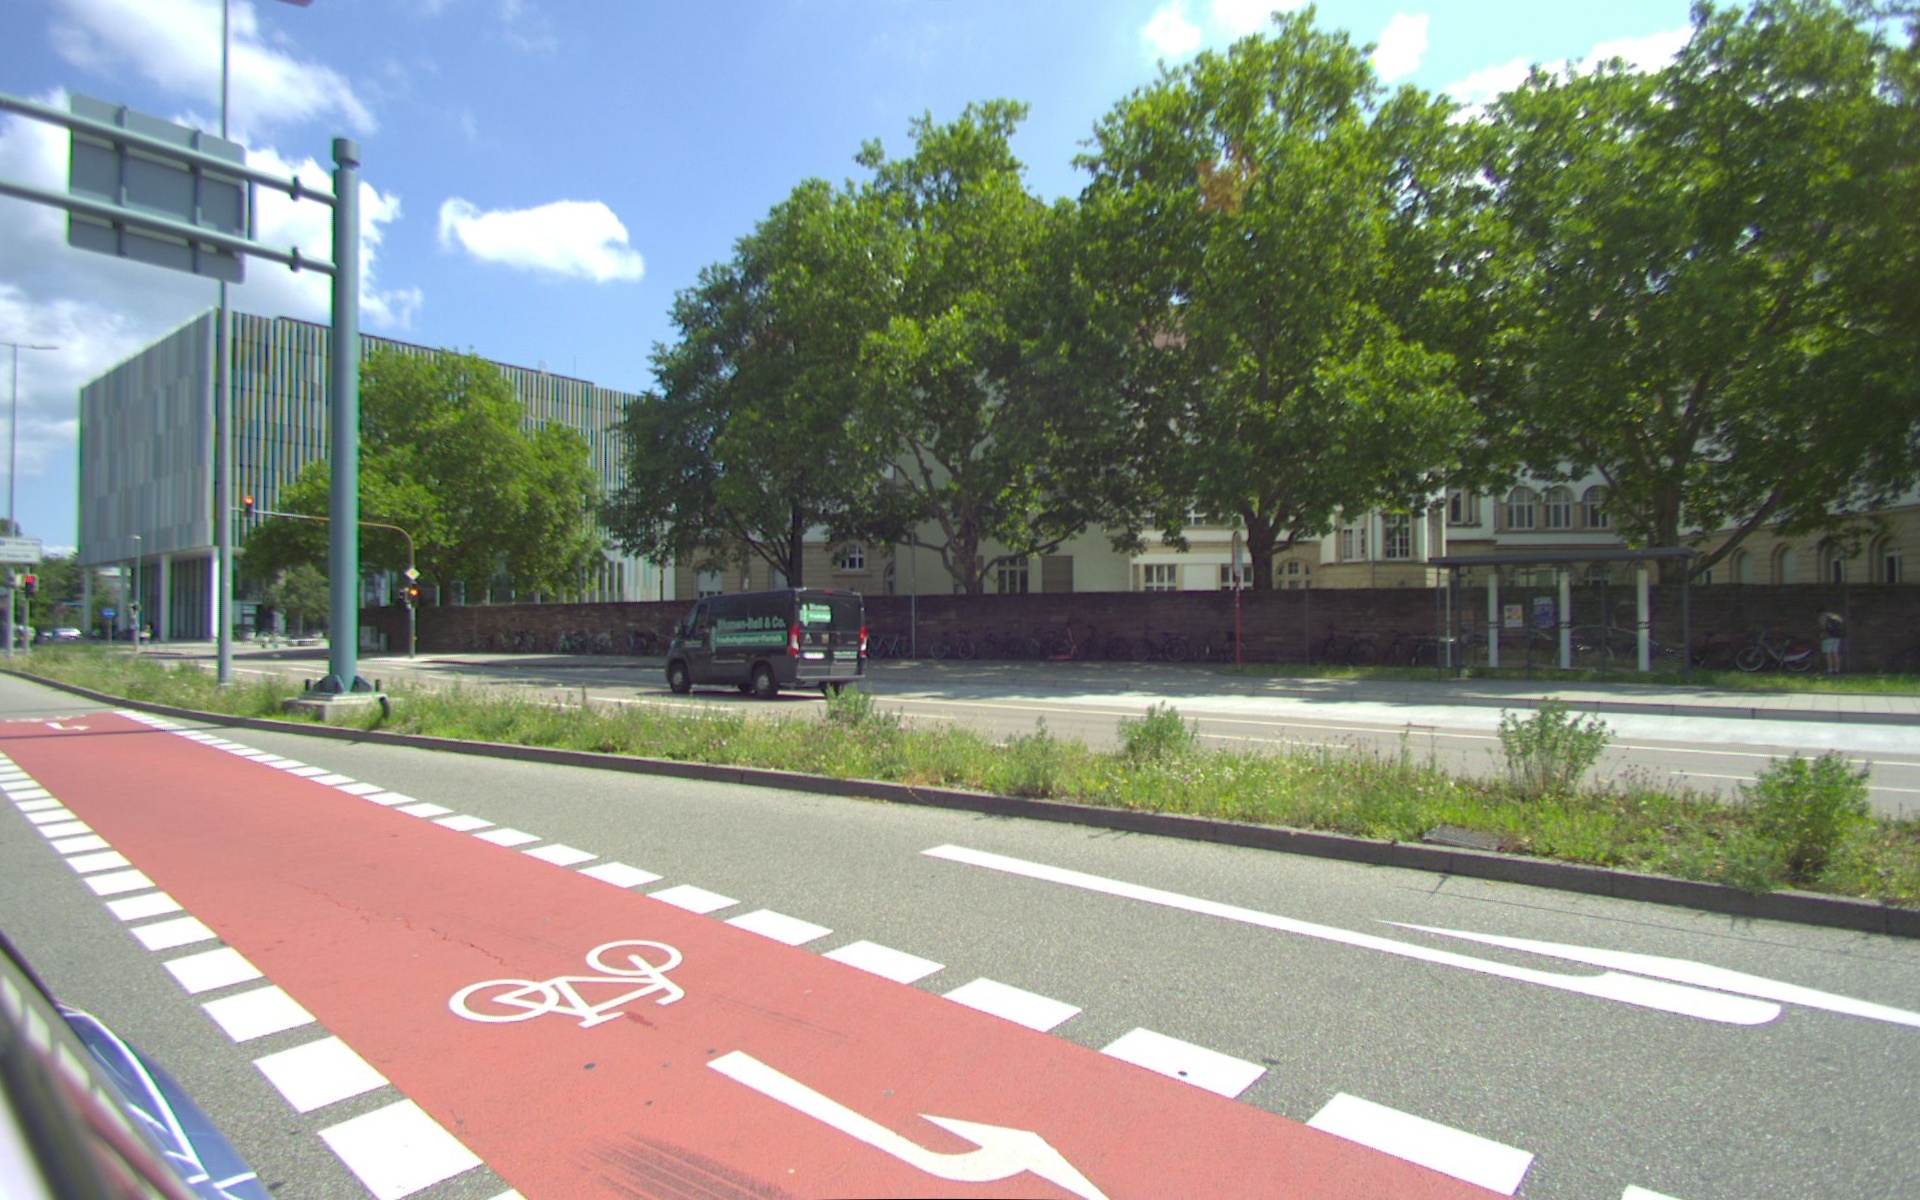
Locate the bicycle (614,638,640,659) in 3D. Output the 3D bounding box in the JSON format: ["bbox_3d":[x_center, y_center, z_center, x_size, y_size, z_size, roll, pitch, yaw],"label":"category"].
[{"bbox_3d":[-13.896,2.027,42.215,1.231,0.837,0.262,-2,-2,30],"label":"bicycle"}]

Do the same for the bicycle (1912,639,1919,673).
[{"bbox_3d":[24.361,1.355,24.625,1.734,0.823,0.382,-1,-2,18],"label":"bicycle"}]

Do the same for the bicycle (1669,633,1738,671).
[{"bbox_3d":[19.228,1.343,26.193,1.384,0.972,0.263,-1,-2,18],"label":"bicycle"}]

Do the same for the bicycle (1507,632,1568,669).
[{"bbox_3d":[15.626,1.366,27.387,1.384,0.972,0.263,-1,-2,18],"label":"bicycle"}]

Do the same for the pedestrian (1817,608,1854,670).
[{"bbox_3d":[21.431,0.950,24.772,0.633,1.484,0.504,-2,-2,39],"label":"pedestrian"}]

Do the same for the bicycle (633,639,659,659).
[{"bbox_3d":[-12.873,2.007,41.473,1.231,0.837,0.262,-2,-2,30],"label":"bicycle"}]

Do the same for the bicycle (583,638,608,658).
[{"bbox_3d":[-15.335,2.004,42.553,1.230,0.837,0.262,-1,-2,29],"label":"bicycle"}]

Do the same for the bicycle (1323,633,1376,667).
[{"bbox_3d":[11.174,1.424,29.031,1.384,0.972,0.263,-1,-2,18],"label":"bicycle"}]

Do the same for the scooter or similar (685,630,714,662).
[{"bbox_3d":[-10.004,1.758,38.867,1.230,1.199,0.262,-1,-2,29],"label":"scooter or similar"}]

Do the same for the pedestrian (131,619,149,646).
[{"bbox_3d":[-62.624,2.466,77.315,0.994,2.029,0.853,-2,-2,39],"label":"pedestrian"}]

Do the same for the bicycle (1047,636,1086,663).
[{"bbox_3d":[3.404,1.592,32.455,1.230,0.837,0.262,-1,-2,28],"label":"bicycle"}]

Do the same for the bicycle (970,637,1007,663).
[{"bbox_3d":[0.956,1.660,33.716,1.230,0.837,0.262,-1,-2,28],"label":"bicycle"}]

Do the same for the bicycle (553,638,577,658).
[{"bbox_3d":[-17.411,2.111,44.556,1.230,0.837,0.262,-1,-2,29],"label":"bicycle"}]

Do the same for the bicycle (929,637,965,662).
[{"bbox_3d":[-0.436,1.671,34.275,1.230,0.837,0.262,-1,-2,28],"label":"bicycle"}]

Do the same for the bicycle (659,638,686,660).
[{"bbox_3d":[-11.550,1.966,40.579,1.231,0.837,0.262,-2,-2,30],"label":"bicycle"}]

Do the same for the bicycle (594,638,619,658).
[{"bbox_3d":[-14.988,2.016,42.877,1.231,0.837,0.262,-2,-2,30],"label":"bicycle"}]

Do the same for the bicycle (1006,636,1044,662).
[{"bbox_3d":[2.128,1.608,33.067,1.230,0.837,0.262,-1,-2,28],"label":"bicycle"}]

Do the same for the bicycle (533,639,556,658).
[{"bbox_3d":[-18.600,2.162,45.306,1.230,0.837,0.262,-1,-2,29],"label":"bicycle"}]

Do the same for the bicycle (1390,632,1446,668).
[{"bbox_3d":[12.860,1.402,28.417,1.384,0.972,0.263,-1,-2,18],"label":"bicycle"}]

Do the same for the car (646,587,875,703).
[{"bbox_3d":[-4.349,0.974,21.625,5.014,2.192,2.126,-2,-4,40],"label":"car"}]

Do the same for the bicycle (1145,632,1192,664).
[{"bbox_3d":[6.396,1.474,31.034,1.385,0.972,0.263,-1,-2,20],"label":"bicycle"}]

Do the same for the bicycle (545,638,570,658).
[{"bbox_3d":[-17.486,2.094,43.962,1.230,0.837,0.262,-1,-2,29],"label":"bicycle"}]

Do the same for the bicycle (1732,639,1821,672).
[{"bbox_3d":[20.740,1.402,25.720,1.734,0.823,0.327,-1,-2,18],"label":"bicycle"}]

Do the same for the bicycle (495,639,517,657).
[{"bbox_3d":[-21.058,2.221,46.963,1.231,0.837,0.262,-2,-2,30],"label":"bicycle"}]

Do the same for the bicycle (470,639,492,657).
[{"bbox_3d":[-22.696,2.271,47.955,1.231,0.837,0.262,-2,-2,30],"label":"bicycle"}]

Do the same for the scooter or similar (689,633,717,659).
[{"bbox_3d":[-10.149,1.805,39.918,1.133,1.028,0.264,-1,-2,19],"label":"scooter or similar"}]

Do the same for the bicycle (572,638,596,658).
[{"bbox_3d":[-16.265,2.082,43.733,1.231,0.837,0.262,-2,-2,30],"label":"bicycle"}]

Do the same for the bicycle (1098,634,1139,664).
[{"bbox_3d":[4.936,1.520,31.584,1.230,0.915,0.262,-1,-2,28],"label":"bicycle"}]

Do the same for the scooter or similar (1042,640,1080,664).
[{"bbox_3d":[3.174,1.627,31.806,1.133,0.734,0.264,-1,-2,18],"label":"scooter or similar"}]

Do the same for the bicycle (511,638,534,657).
[{"bbox_3d":[-19.977,2.172,46.194,1.230,0.837,0.262,-1,-2,29],"label":"bicycle"}]

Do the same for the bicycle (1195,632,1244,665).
[{"bbox_3d":[7.802,1.467,30.414,1.389,0.972,0.262,-1,-2,28],"label":"bicycle"}]

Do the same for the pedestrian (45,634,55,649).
[{"bbox_3d":[-88.825,4.057,98.763,0.686,1.464,0.689,1,-3,-45],"label":"pedestrian"}]

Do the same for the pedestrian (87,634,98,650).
[{"bbox_3d":[-78.592,3.827,91.724,0.686,1.464,0.689,1,-2,-44],"label":"pedestrian"}]

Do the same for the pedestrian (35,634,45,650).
[{"bbox_3d":[-87.560,4.010,96.289,0.686,1.464,0.689,1,-3,-45],"label":"pedestrian"}]

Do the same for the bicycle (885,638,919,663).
[{"bbox_3d":[-2.019,1.749,35.114,1.231,0.837,0.262,-1,-2,30],"label":"bicycle"}]
